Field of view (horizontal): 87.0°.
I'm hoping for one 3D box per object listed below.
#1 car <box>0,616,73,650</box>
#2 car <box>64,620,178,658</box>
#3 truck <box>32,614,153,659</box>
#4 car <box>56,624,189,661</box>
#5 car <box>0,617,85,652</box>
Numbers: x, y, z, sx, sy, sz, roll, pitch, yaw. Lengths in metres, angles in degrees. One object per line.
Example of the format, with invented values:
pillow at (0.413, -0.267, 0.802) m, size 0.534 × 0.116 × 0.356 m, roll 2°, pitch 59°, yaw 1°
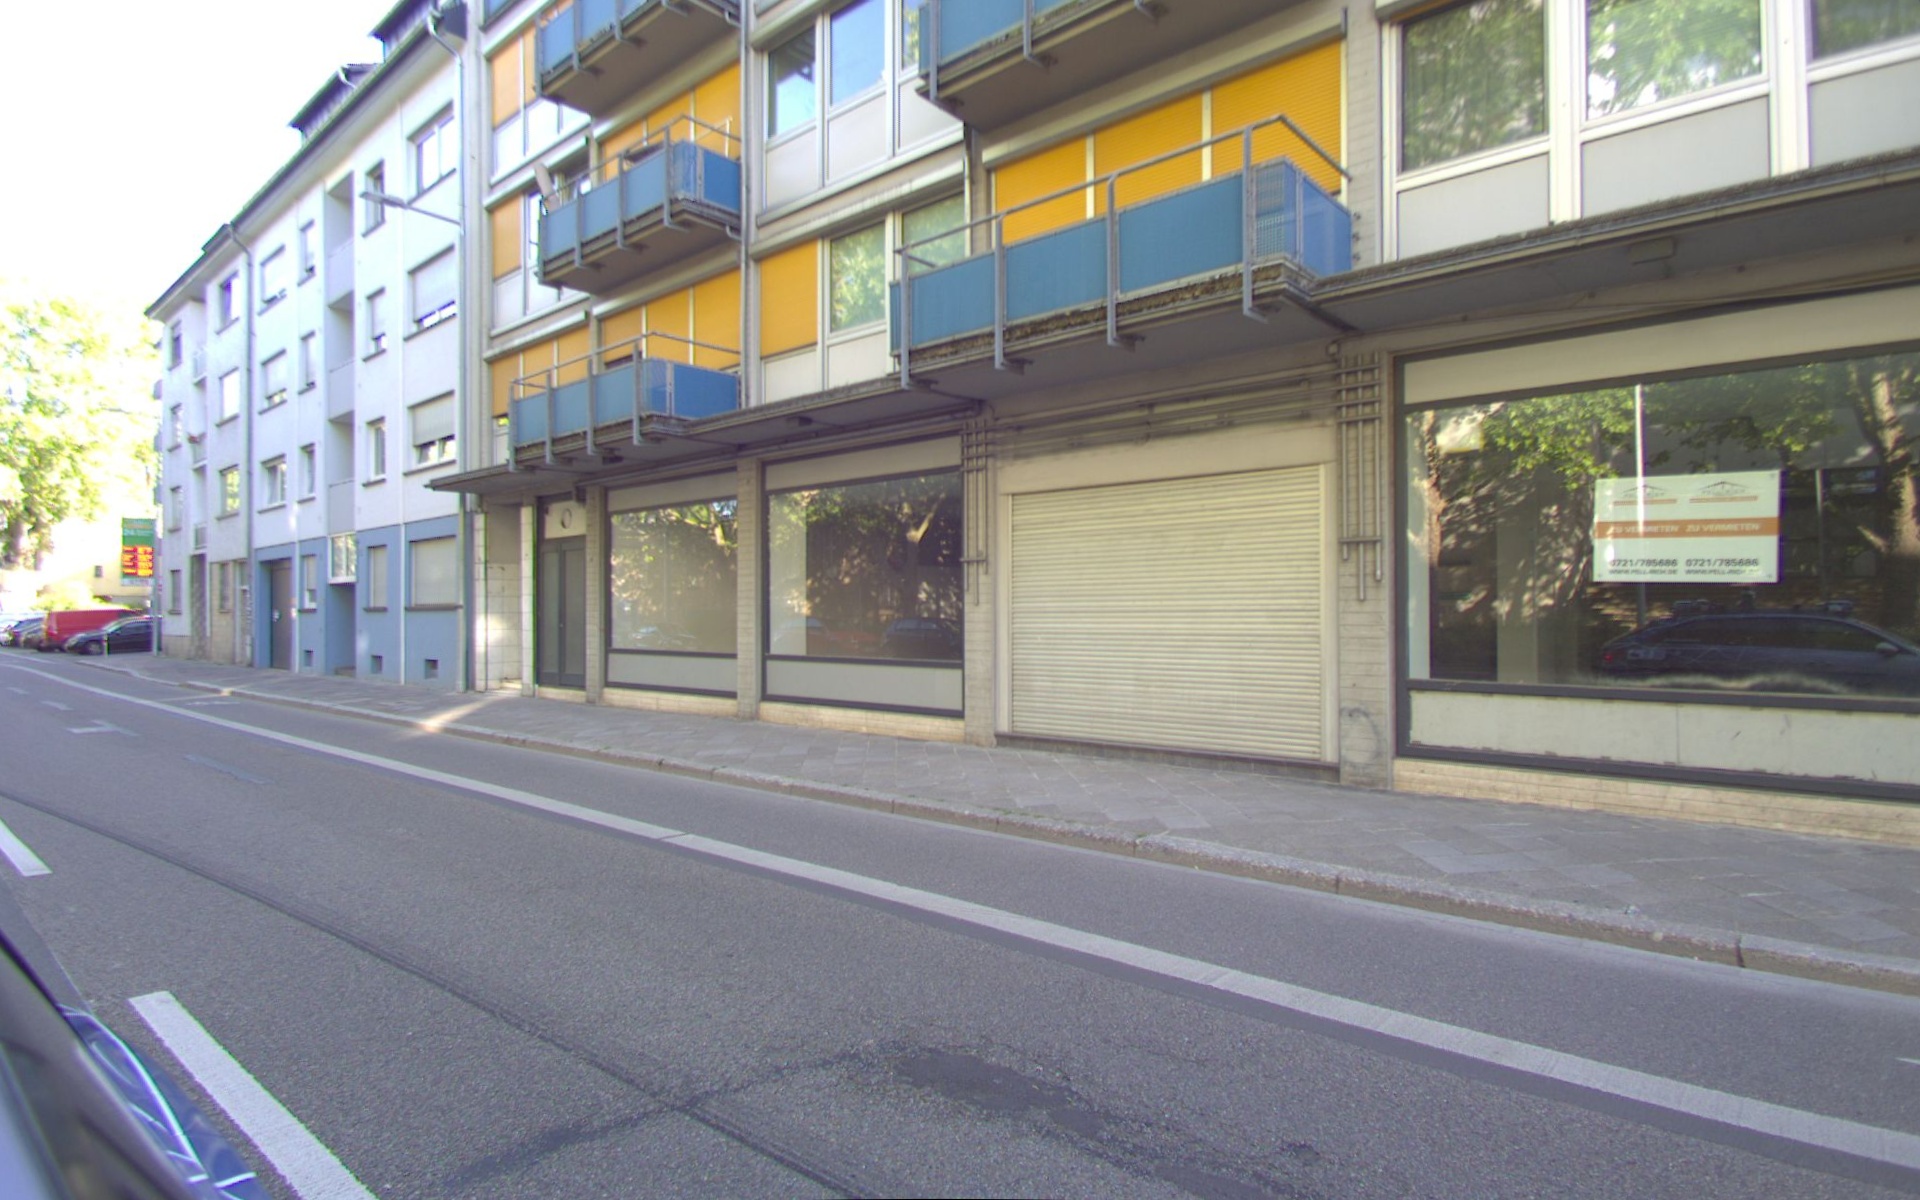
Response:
car at (-59.335, 2.099, 64.395) m, size 2.000 × 2.052 × 4.180 m, roll -1°, pitch 0°, yaw 43°
car at (-38.037, 1.734, 45.936) m, size 1.657 × 1.583 × 3.762 m, roll -1°, pitch 0°, yaw 41°
truck at (-40.713, 1.652, 47.567) m, size 1.999 × 1.939 × 4.040 m, roll -1°, pitch 0°, yaw 40°
car at (-36.487, 1.797, 44.153) m, size 1.657 × 1.417 × 4.269 m, roll -1°, pitch 0°, yaw 40°
car at (-56.051, 2.070, 61.466) m, size 2.000 × 1.971 × 4.180 m, roll -1°, pitch 0°, yaw 43°
